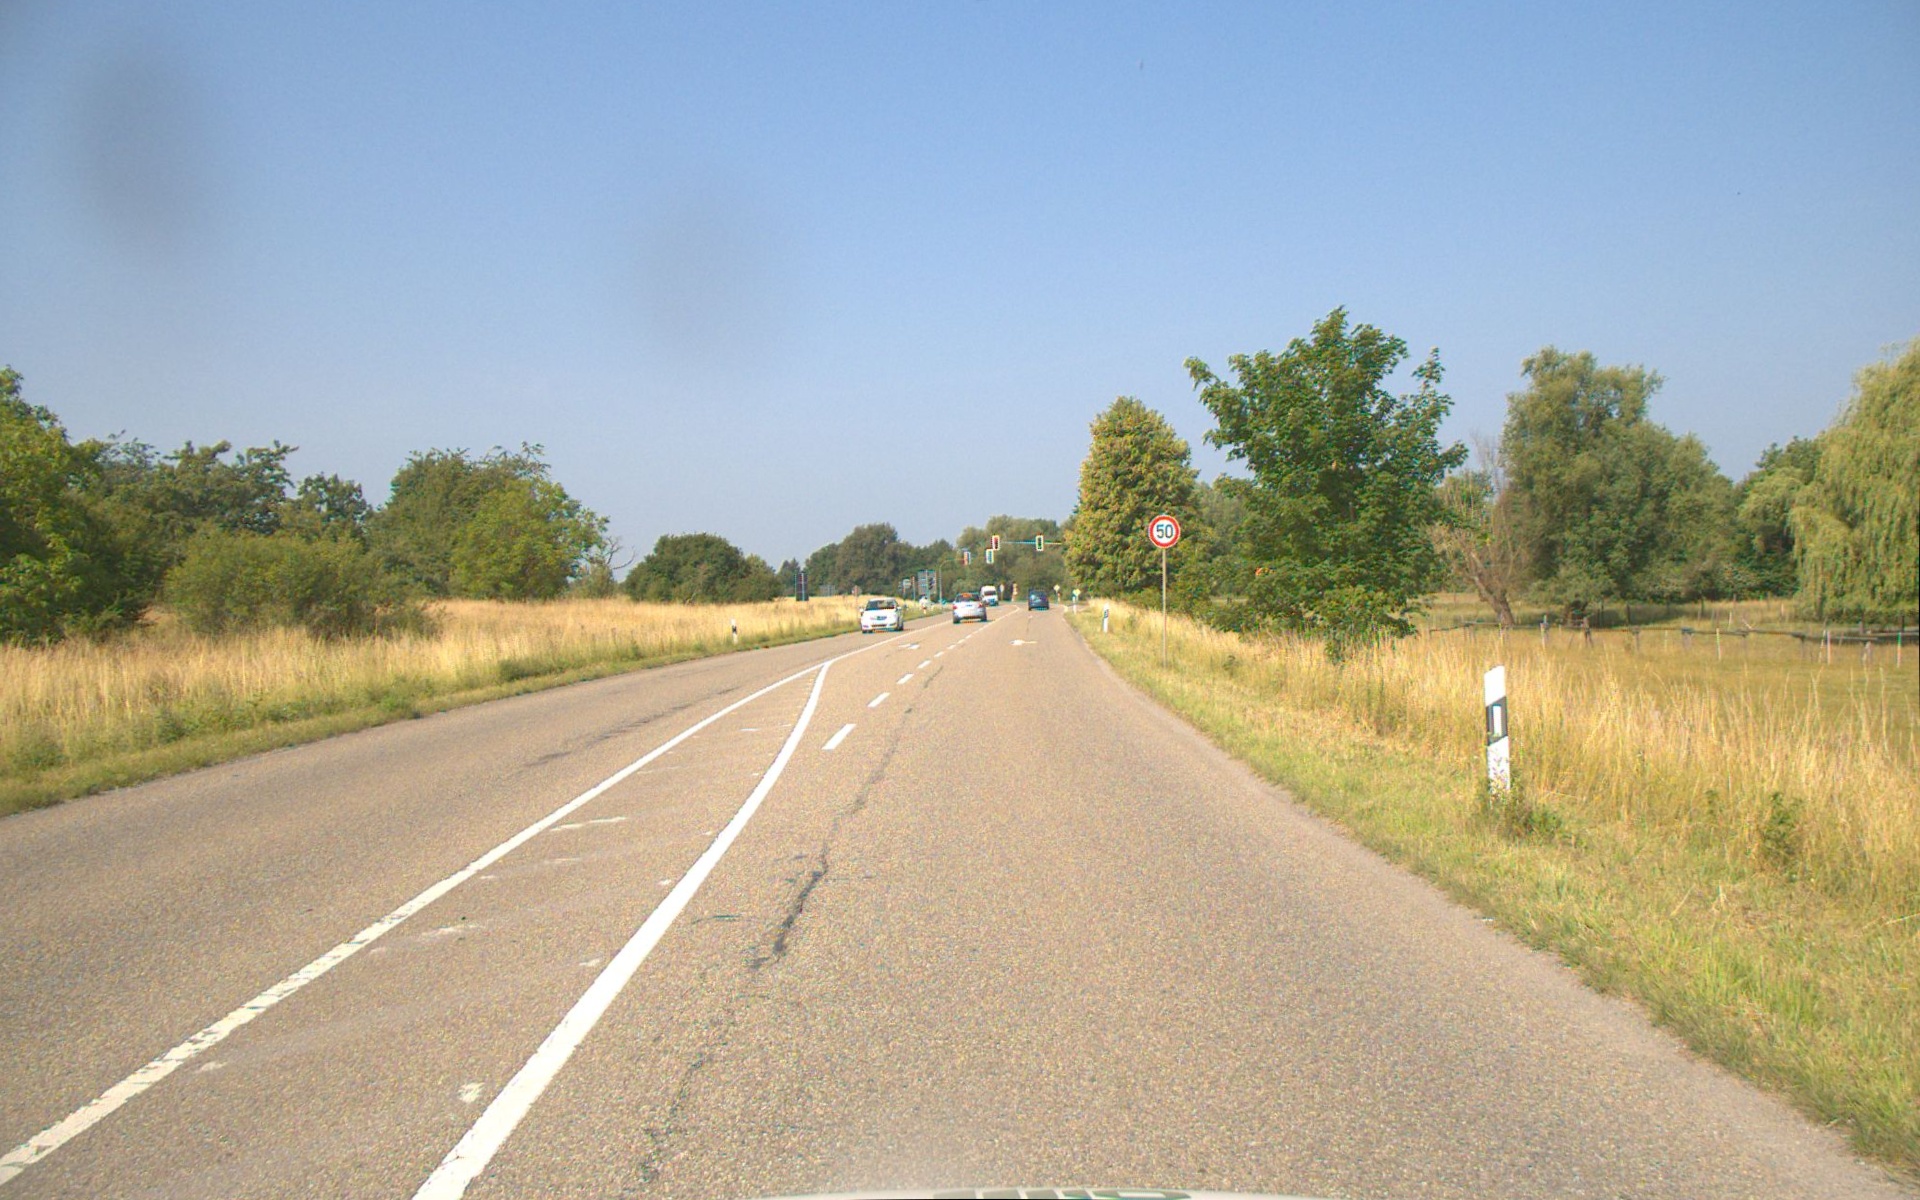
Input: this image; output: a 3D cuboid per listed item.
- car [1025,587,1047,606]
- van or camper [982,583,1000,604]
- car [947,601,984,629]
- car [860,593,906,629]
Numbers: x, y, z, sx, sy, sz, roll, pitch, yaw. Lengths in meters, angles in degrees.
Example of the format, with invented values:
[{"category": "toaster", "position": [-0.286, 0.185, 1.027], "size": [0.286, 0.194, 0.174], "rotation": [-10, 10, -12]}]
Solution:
[{"category": "car", "position": [6.402, -0.306, 139.374], "size": [1.778, 1.547, 4.002], "rotation": [-2, 0, 3]}, {"category": "van or camper", "position": [4.237, -0.908, 225.606], "size": [2.217, 2.757, 5.265], "rotation": [1, 0, 4]}, {"category": "car", "position": [0.338, 0.814, 93.106], "size": [1.859, 1.538, 4.002], "rotation": [1, 0, 3]}, {"category": "car", "position": [-3.648, 0.503, 78.609], "size": [1.774, 1.612, 4.226], "rotation": [-2, 0, 2]}]
